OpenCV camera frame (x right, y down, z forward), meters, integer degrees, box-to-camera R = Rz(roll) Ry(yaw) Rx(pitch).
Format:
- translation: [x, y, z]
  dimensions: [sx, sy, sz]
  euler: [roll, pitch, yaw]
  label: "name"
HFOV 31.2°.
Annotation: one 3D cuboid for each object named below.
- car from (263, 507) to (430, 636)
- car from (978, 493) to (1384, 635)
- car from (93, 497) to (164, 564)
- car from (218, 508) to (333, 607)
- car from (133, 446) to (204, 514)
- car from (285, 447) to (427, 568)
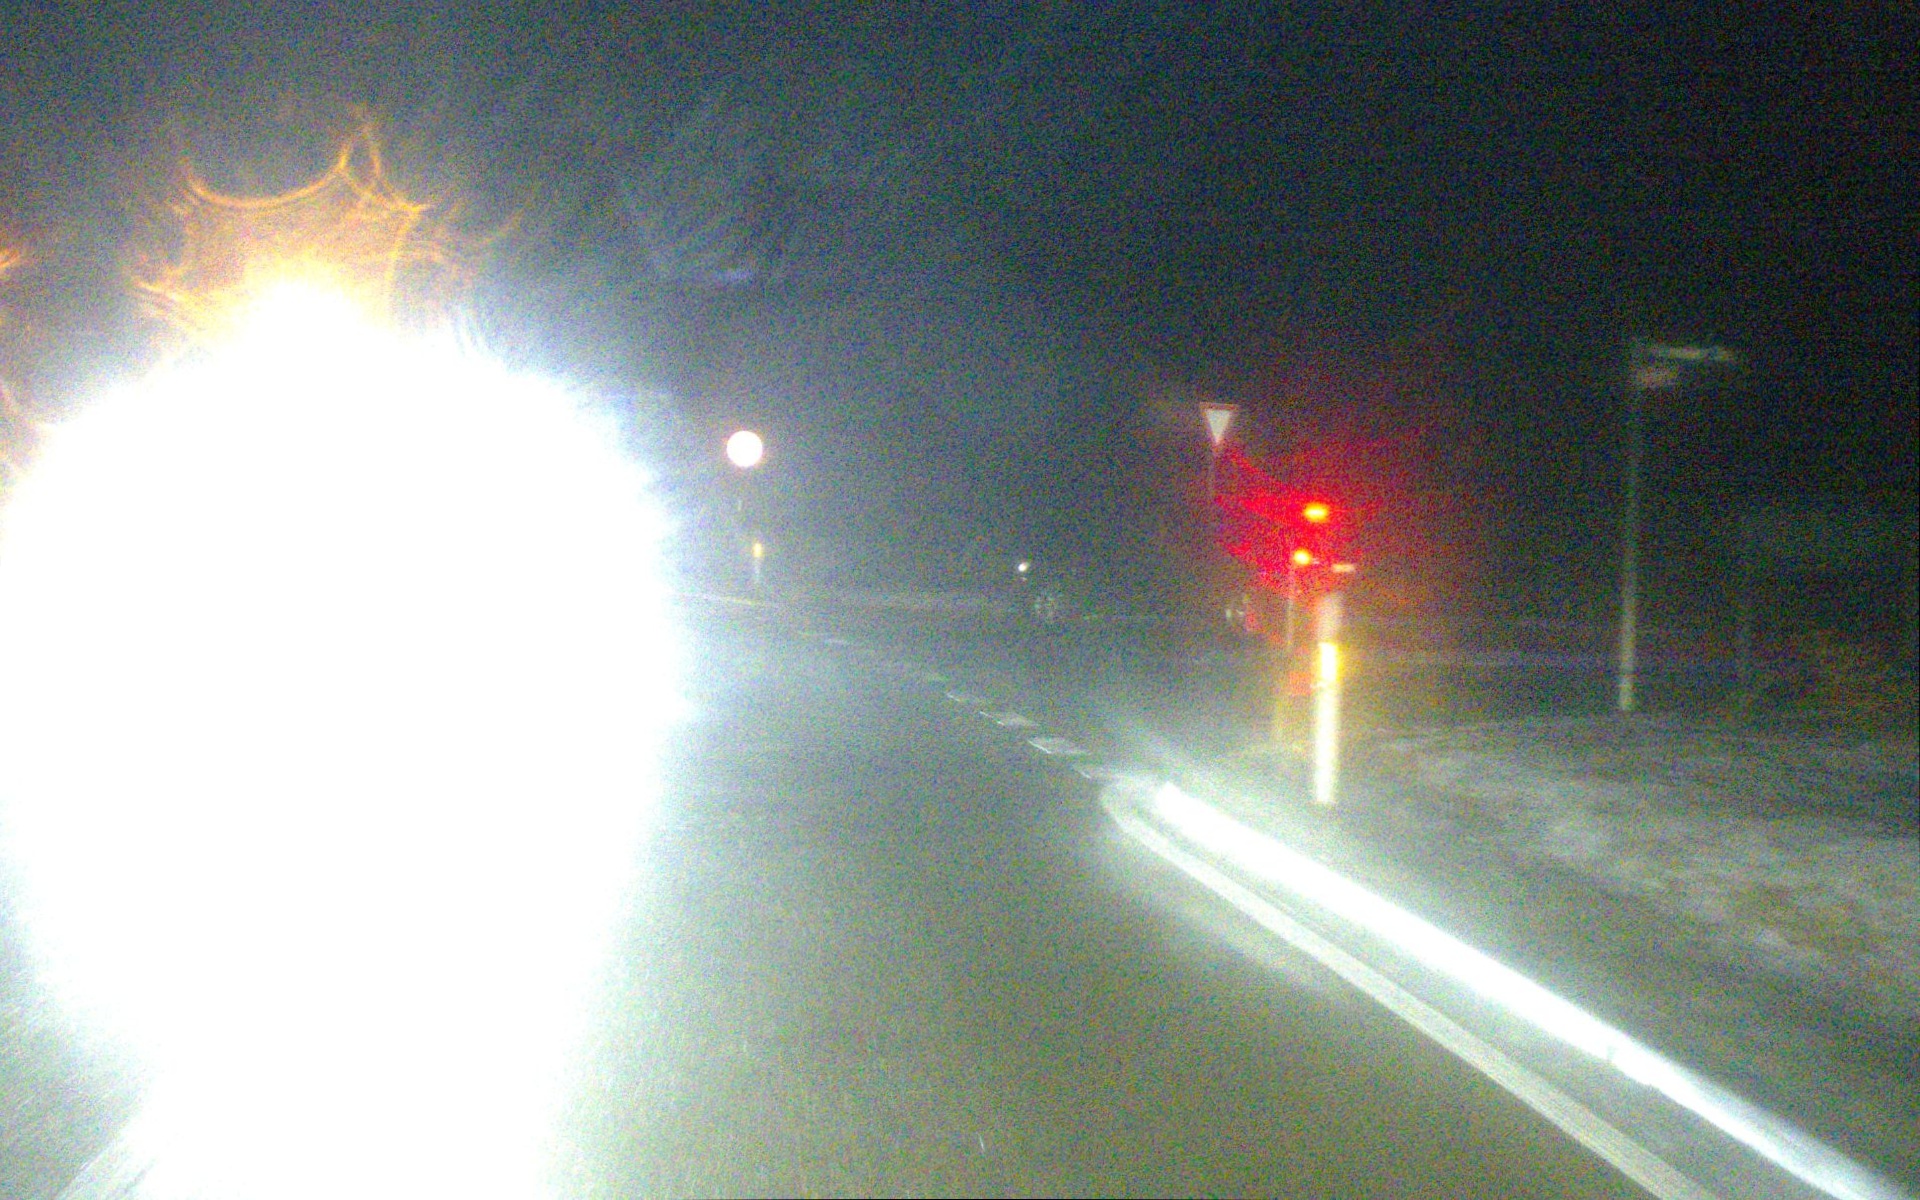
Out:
- translation: [-7.762, -0.366, 43.562]
  dimensions: [1.955, 1.517, 4.400]
  euler: [1, 1, -10]
  label: "car"
- translation: [2.750, -0.474, 43.317]
  dimensions: [4.769, 1.685, 1.957]
  euler: [1, 1, 35]
  label: "car"
- translation: [-20.896, -1.757, 86.353]
  dimensions: [1.695, 1.594, 3.802]
  euler: [0, 2, -14]
  label: "car"
- translation: [-11.040, -0.712, 55.323]
  dimensions: [1.711, 1.471, 3.870]
  euler: [1, 2, -12]
  label: "car"
- translation: [-24.997, -3.772, 108.532]
  dimensions: [1.993, 2.007, 4.001]
  euler: [1, 1, -15]
  label: "car"
- translation: [-14.117, -2.206, 80.083]
  dimensions: [2.538, 2.489, 5.717]
  euler: [-1, 5, -17]
  label: "car"
